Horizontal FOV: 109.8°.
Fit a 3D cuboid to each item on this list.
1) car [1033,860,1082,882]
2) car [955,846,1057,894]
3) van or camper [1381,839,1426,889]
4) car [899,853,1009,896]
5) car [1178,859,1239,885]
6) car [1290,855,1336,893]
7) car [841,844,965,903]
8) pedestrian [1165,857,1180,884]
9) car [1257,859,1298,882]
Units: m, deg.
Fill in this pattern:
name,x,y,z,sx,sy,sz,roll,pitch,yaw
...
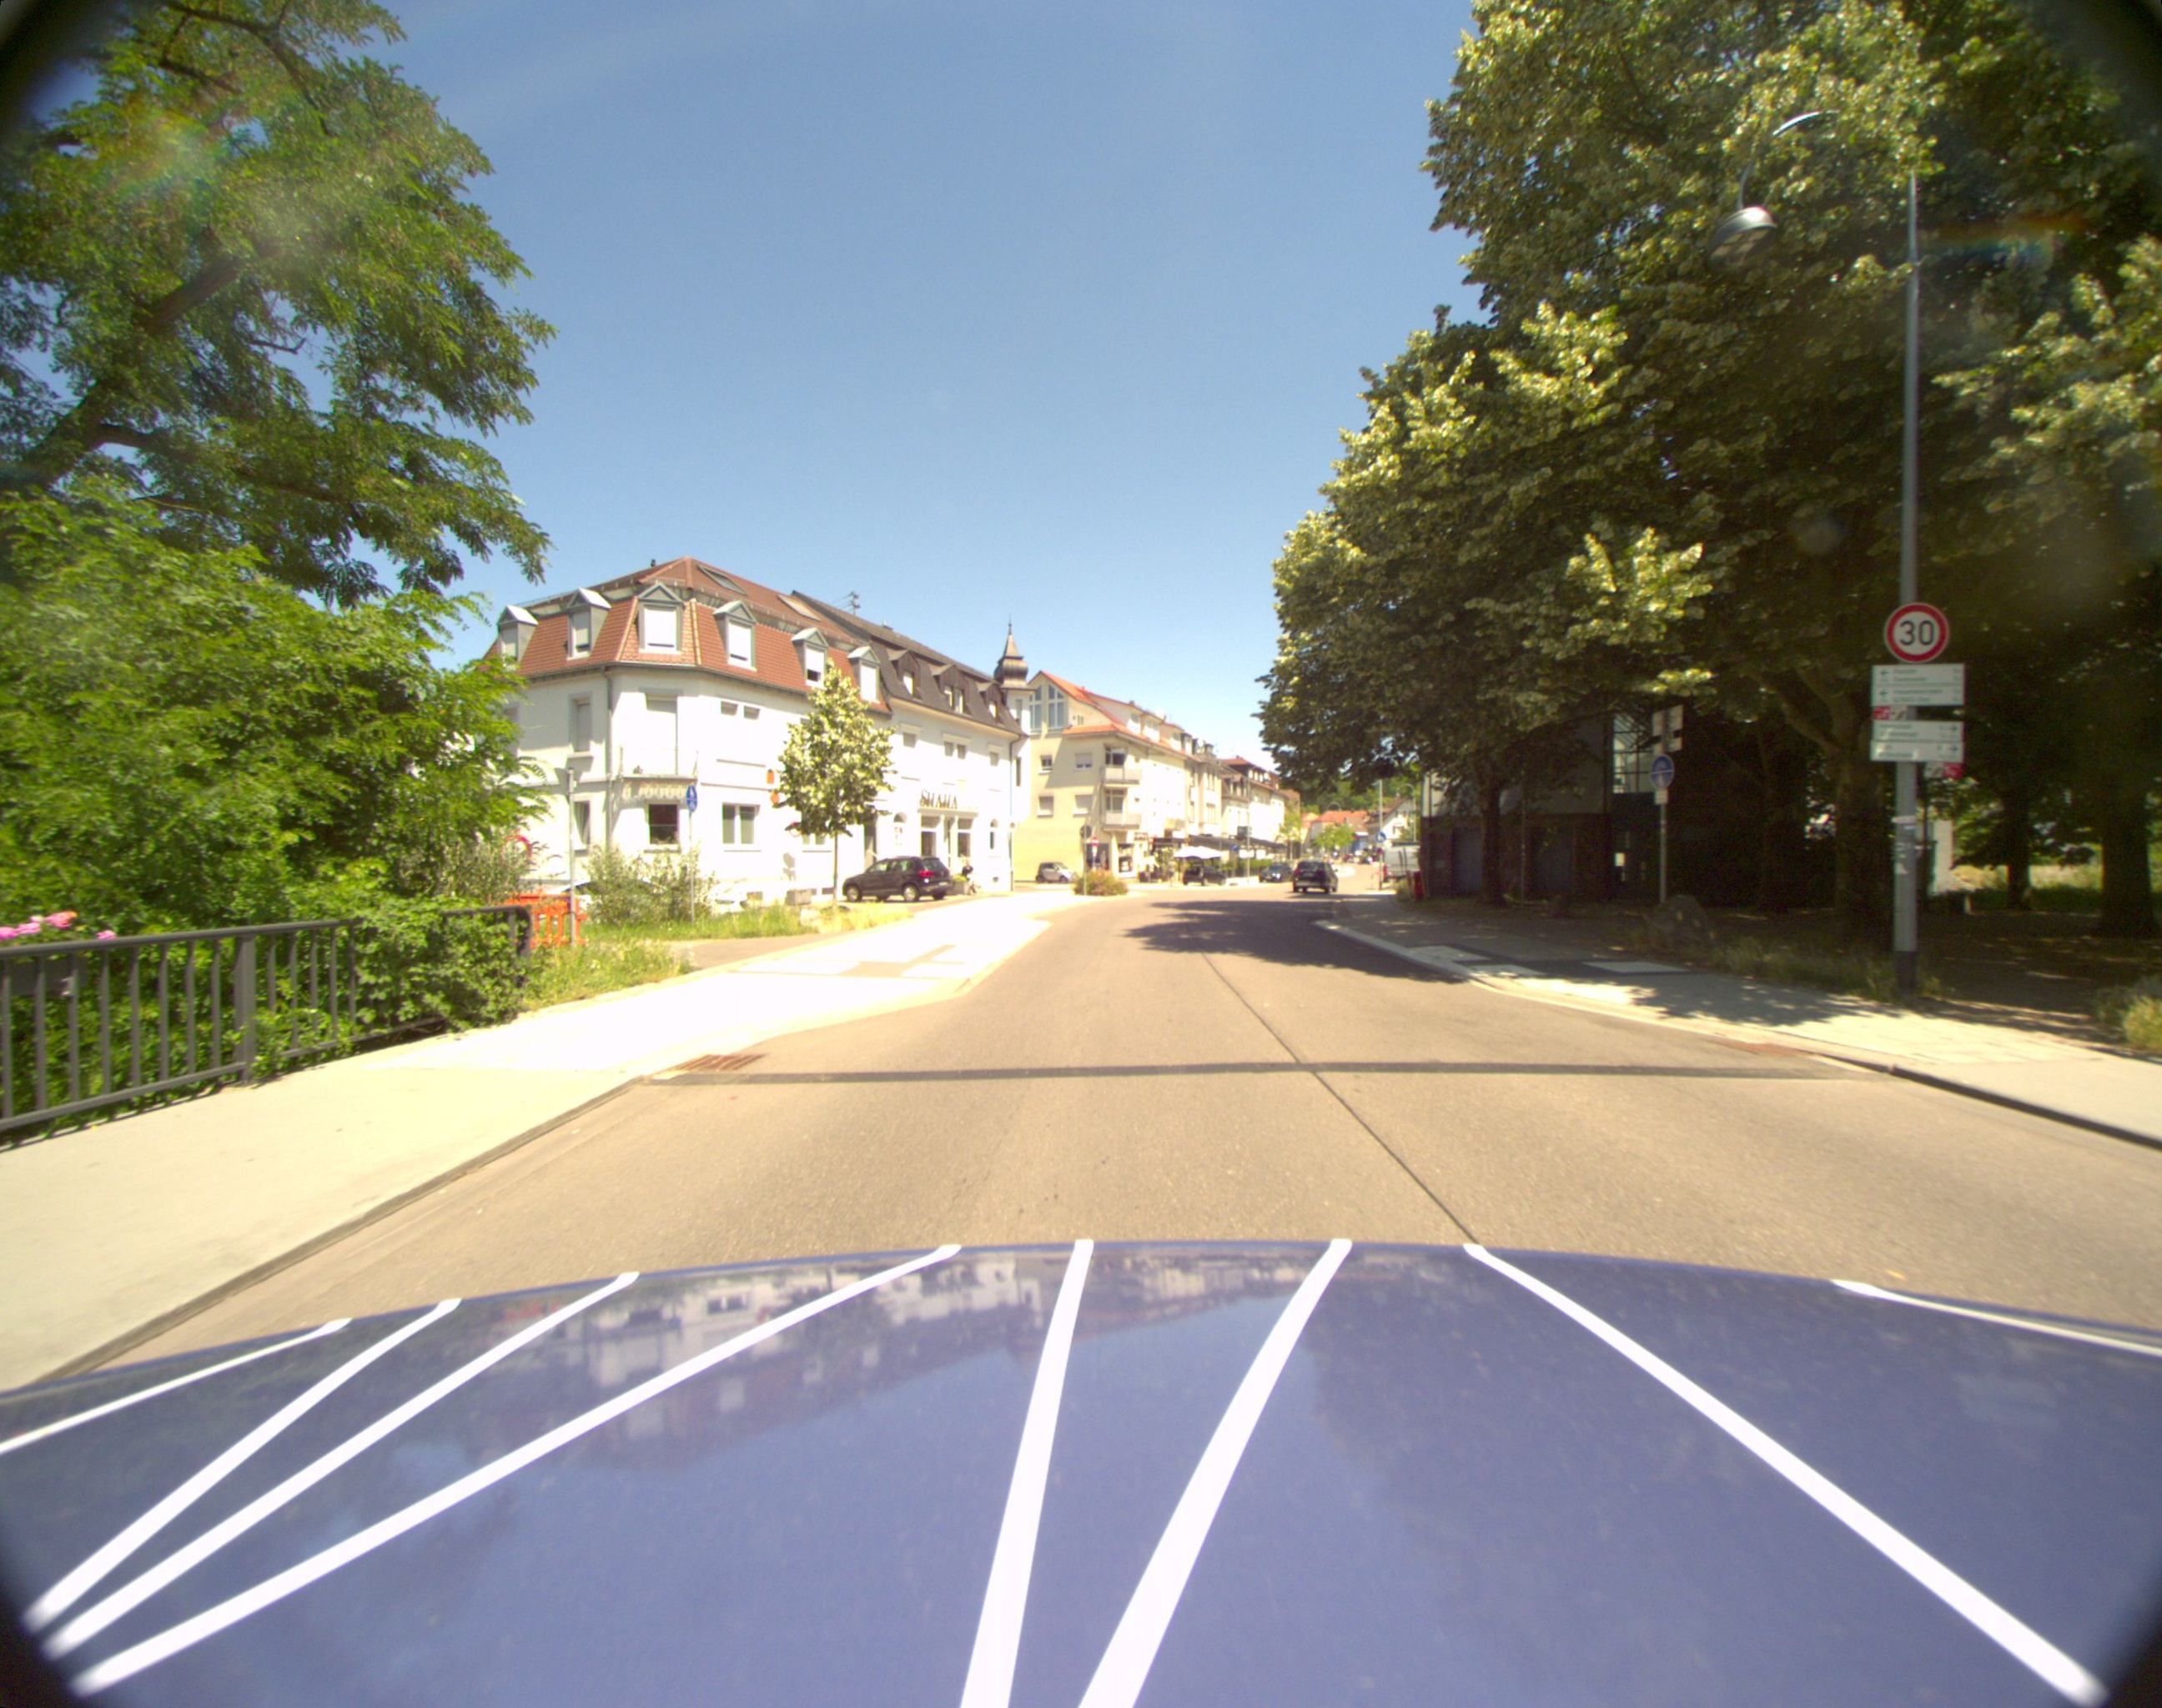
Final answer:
name,x,y,z,sx,sy,sz,roll,pitch,yaw
car,-1.647,1.203,53.543,3.038,1.444,1.570,-2,1,22
car,-3.288,0.711,33.473,3.990,2.001,2.004,-1,-1,26
van or camper,19.868,0.546,46.681,1.995,2.789,5.046,-3,0,27
car,-5.219,0.841,31.174,3.990,1.660,2.004,-2,0,26
car,8.711,1.224,51.846,4.009,1.705,1.994,2,-1,-41
car,12.010,1.027,39.215,1.995,1.830,4.007,0,-1,21
car,-6.567,0.732,27.997,3.990,2.002,2.003,-2,1,26
pedestrian,6.020,1.097,50.079,0.814,1.745,0.636,2,3,23
car,15.613,1.307,60.219,1.994,1.705,4.009,1,-1,33
